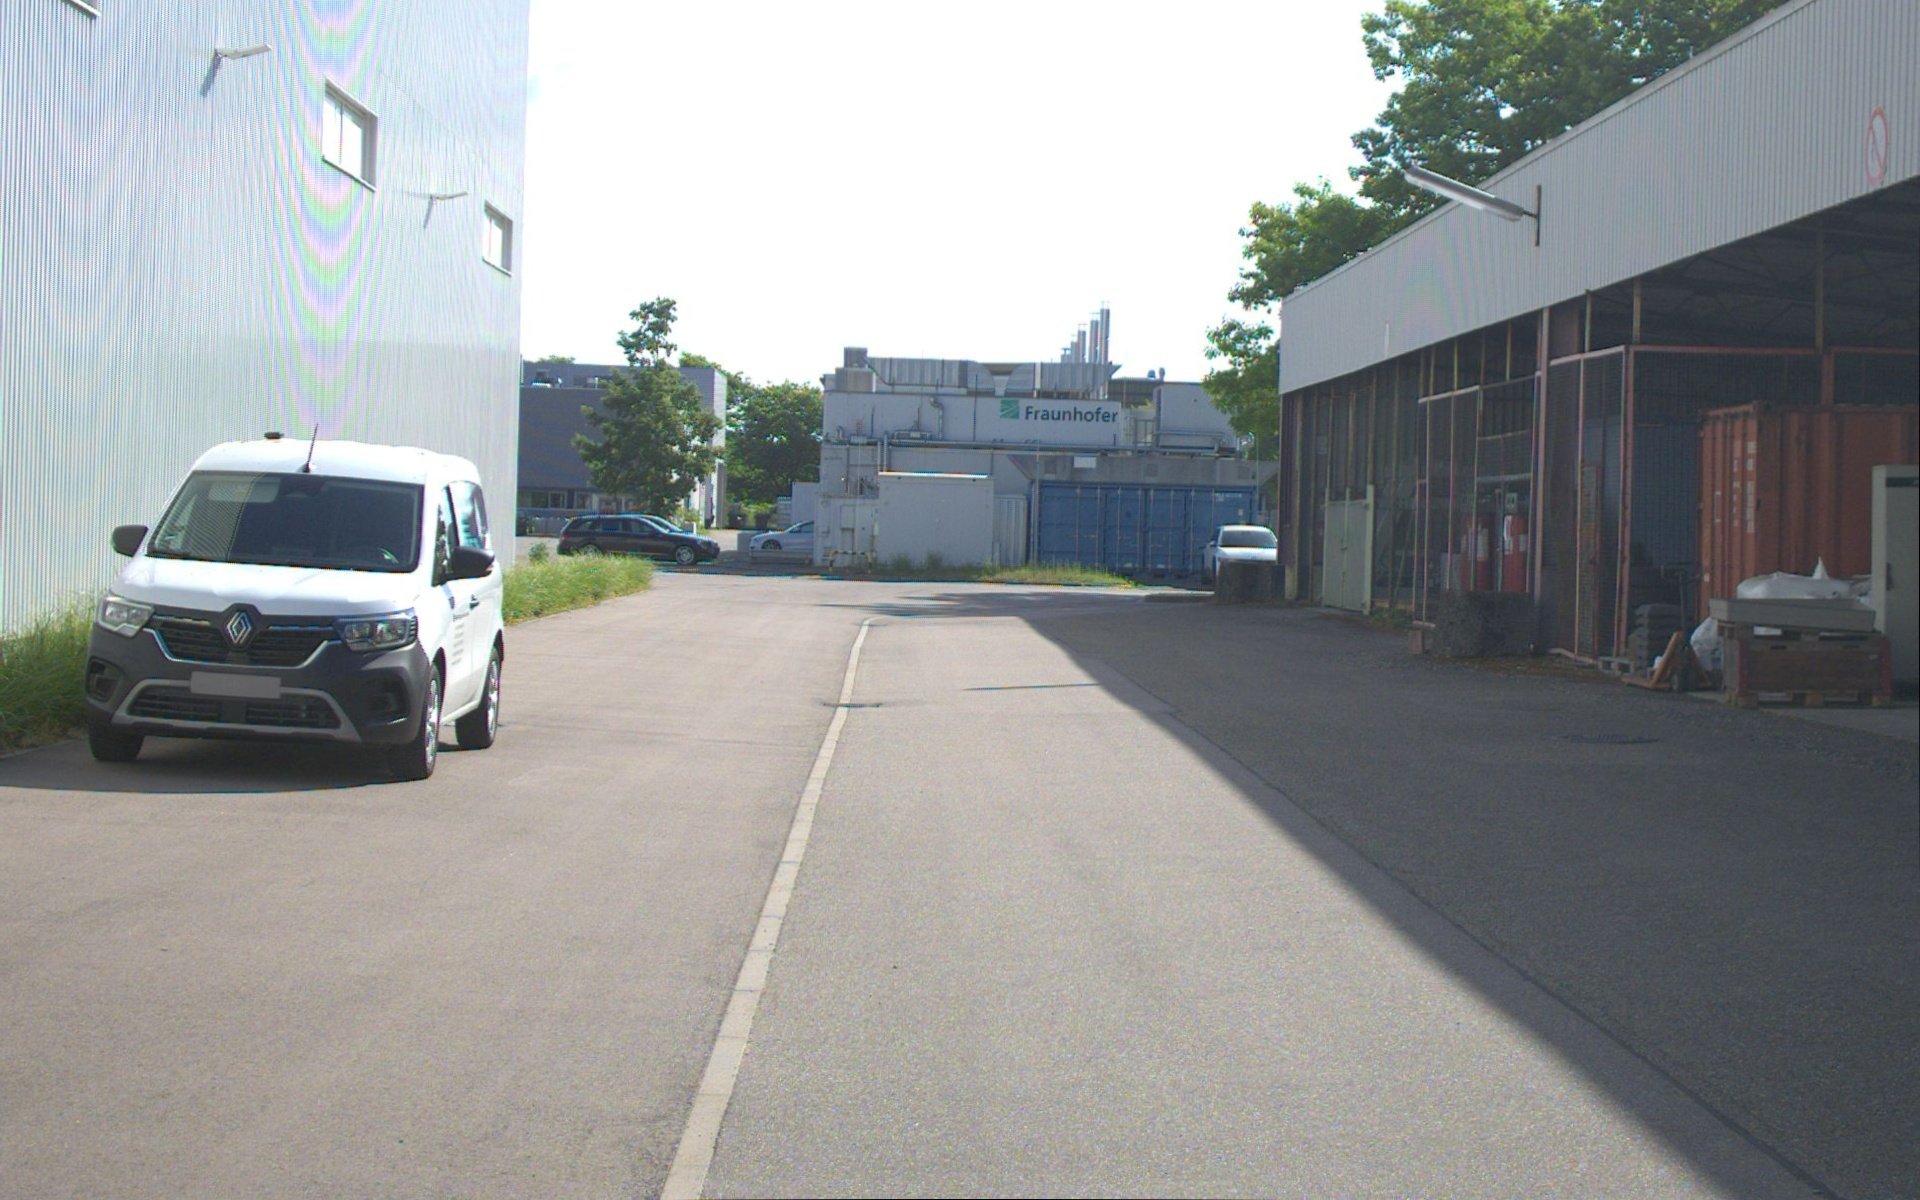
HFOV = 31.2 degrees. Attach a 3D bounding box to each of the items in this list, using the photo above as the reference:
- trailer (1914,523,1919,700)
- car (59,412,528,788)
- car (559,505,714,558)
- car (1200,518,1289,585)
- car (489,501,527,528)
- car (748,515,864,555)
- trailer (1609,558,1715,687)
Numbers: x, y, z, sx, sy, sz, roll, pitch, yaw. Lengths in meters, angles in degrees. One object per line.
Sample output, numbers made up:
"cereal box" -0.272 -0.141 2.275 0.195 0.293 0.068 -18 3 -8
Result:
"trailer" 8.904 0.116 27.631 2.038 1.461 1.738 0 1 3
"car" -3.662 -0.038 19.693 1.783 1.809 4.602 3 1 -1
"car" -9.536 -2.016 101.581 4.447 1.525 1.824 1 1 -1
"car" 7.352 -1.270 89.290 1.979 1.597 4.378 0 3 1
"car" -25.859 -4.887 196.745 1.858 1.489 4.030 0 1 -3
"car" -5.798 -2.441 129.512 4.302 1.452 1.824 1 1 -1
"trailer" 6.258 0.188 30.718 0.551 1.114 1.547 0 1 -3
